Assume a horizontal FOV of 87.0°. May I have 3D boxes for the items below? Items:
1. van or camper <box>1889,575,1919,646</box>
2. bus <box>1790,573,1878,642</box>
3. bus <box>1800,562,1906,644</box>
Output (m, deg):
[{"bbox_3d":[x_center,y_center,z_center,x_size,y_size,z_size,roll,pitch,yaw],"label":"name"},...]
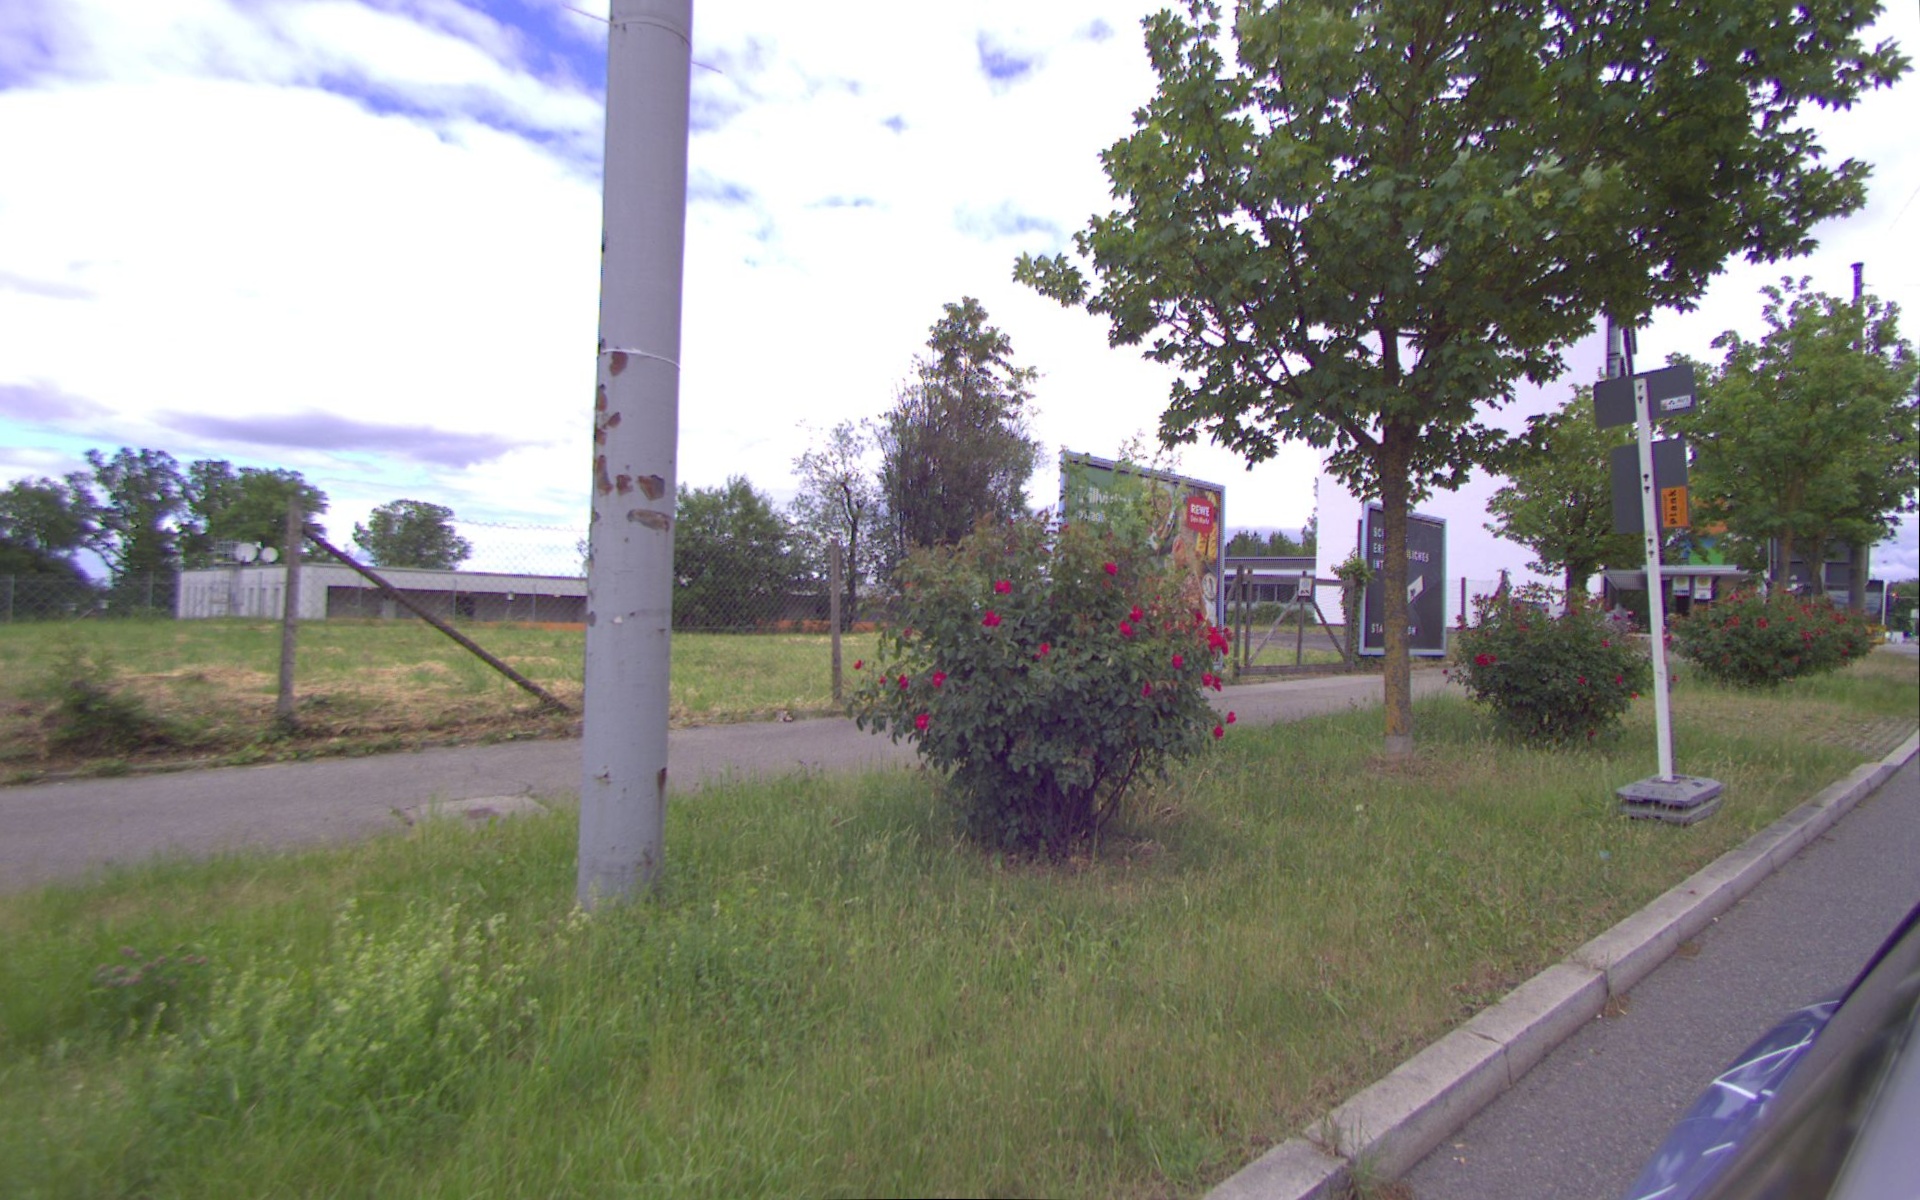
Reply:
[{"bbox_3d":[38.264,0.450,38.850,2.262,2.740,6.920,2,0,30],"label":"van or camper"},{"bbox_3d":[45.213,0.411,52.561,2.707,3.147,8.749,4,1,37],"label":"bus"},{"bbox_3d":[39.872,0.186,45.455,2.707,3.203,9.002,5,2,37],"label":"bus"}]
